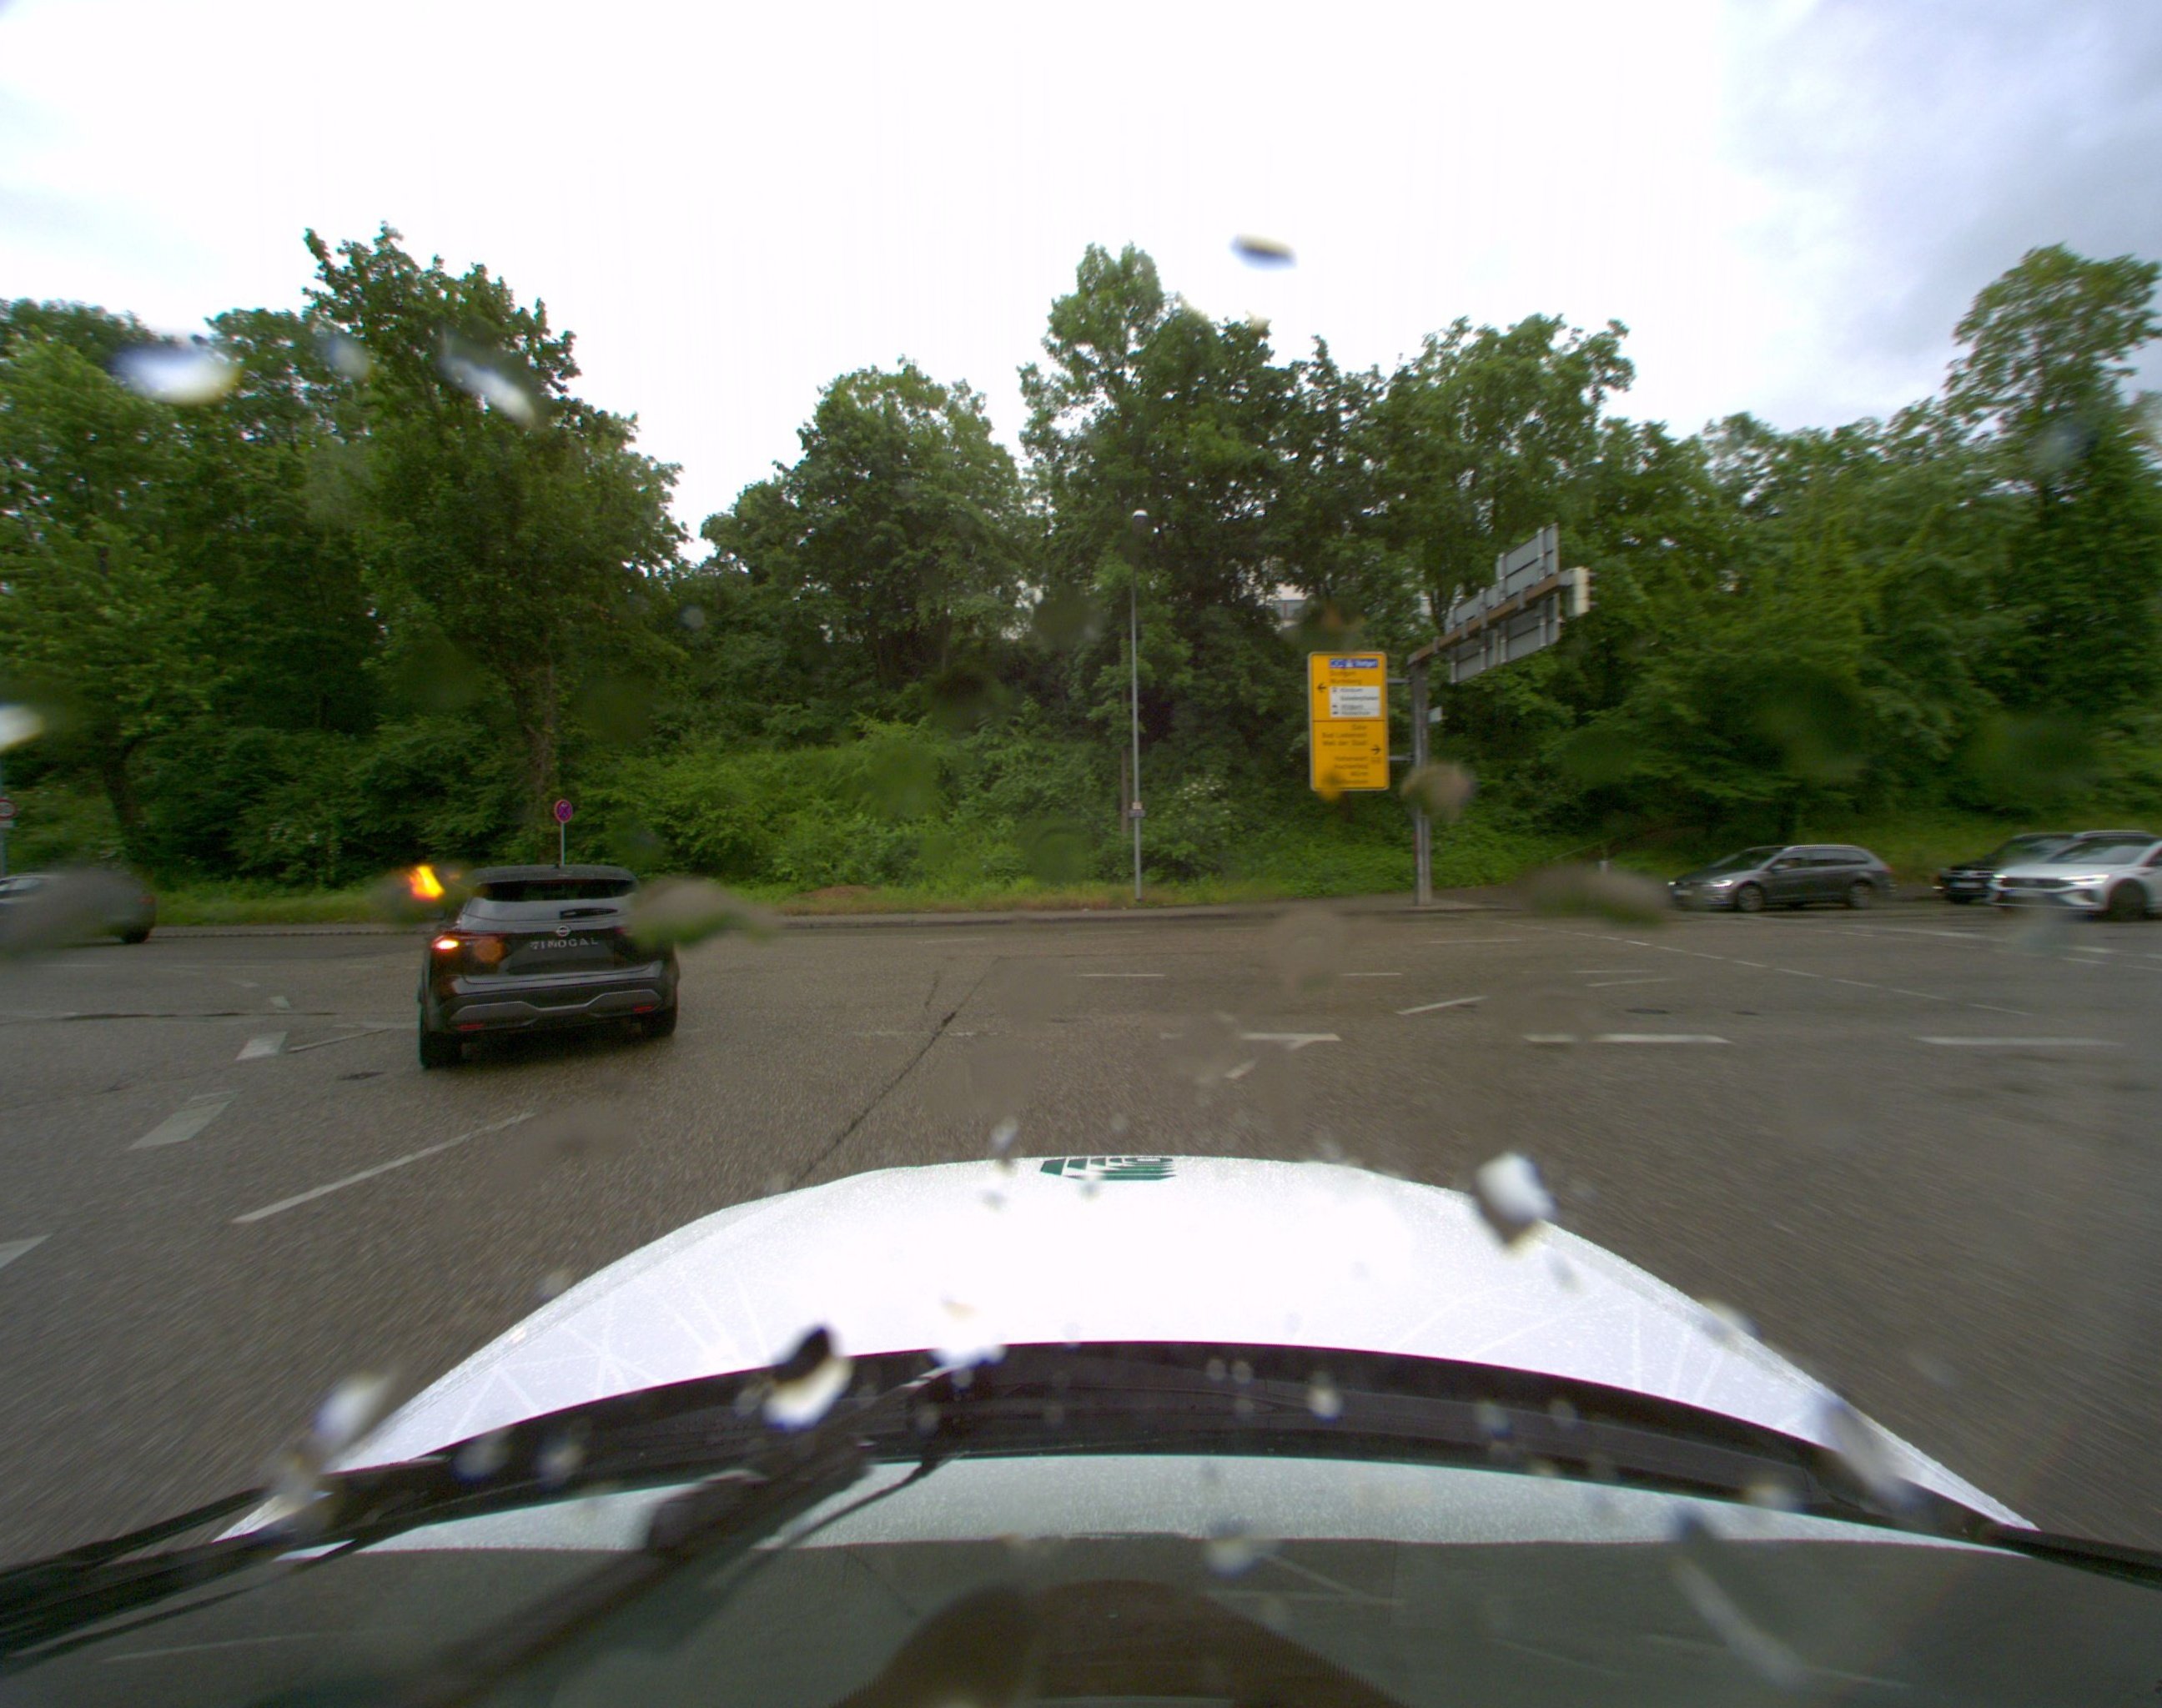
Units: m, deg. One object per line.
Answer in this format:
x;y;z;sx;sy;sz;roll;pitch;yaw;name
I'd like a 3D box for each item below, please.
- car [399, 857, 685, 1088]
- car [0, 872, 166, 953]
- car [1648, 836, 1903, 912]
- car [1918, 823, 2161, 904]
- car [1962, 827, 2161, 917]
-5.192;0.862;7.928;1.824;1.603;3.957;-1;0;-35;car
-23.577;1.268;18.605;3.960;1.602;1.823;1;1;12;car
15.960;0.436;18.881;4.311;1.502;1.883;-2;0;-1;car
22.678;0.184;18.925;4.598;1.697;1.827;-2;0;-1;car
19.533;0.288;15.329;4.133;1.561;1.807;-1;0;-4;car
